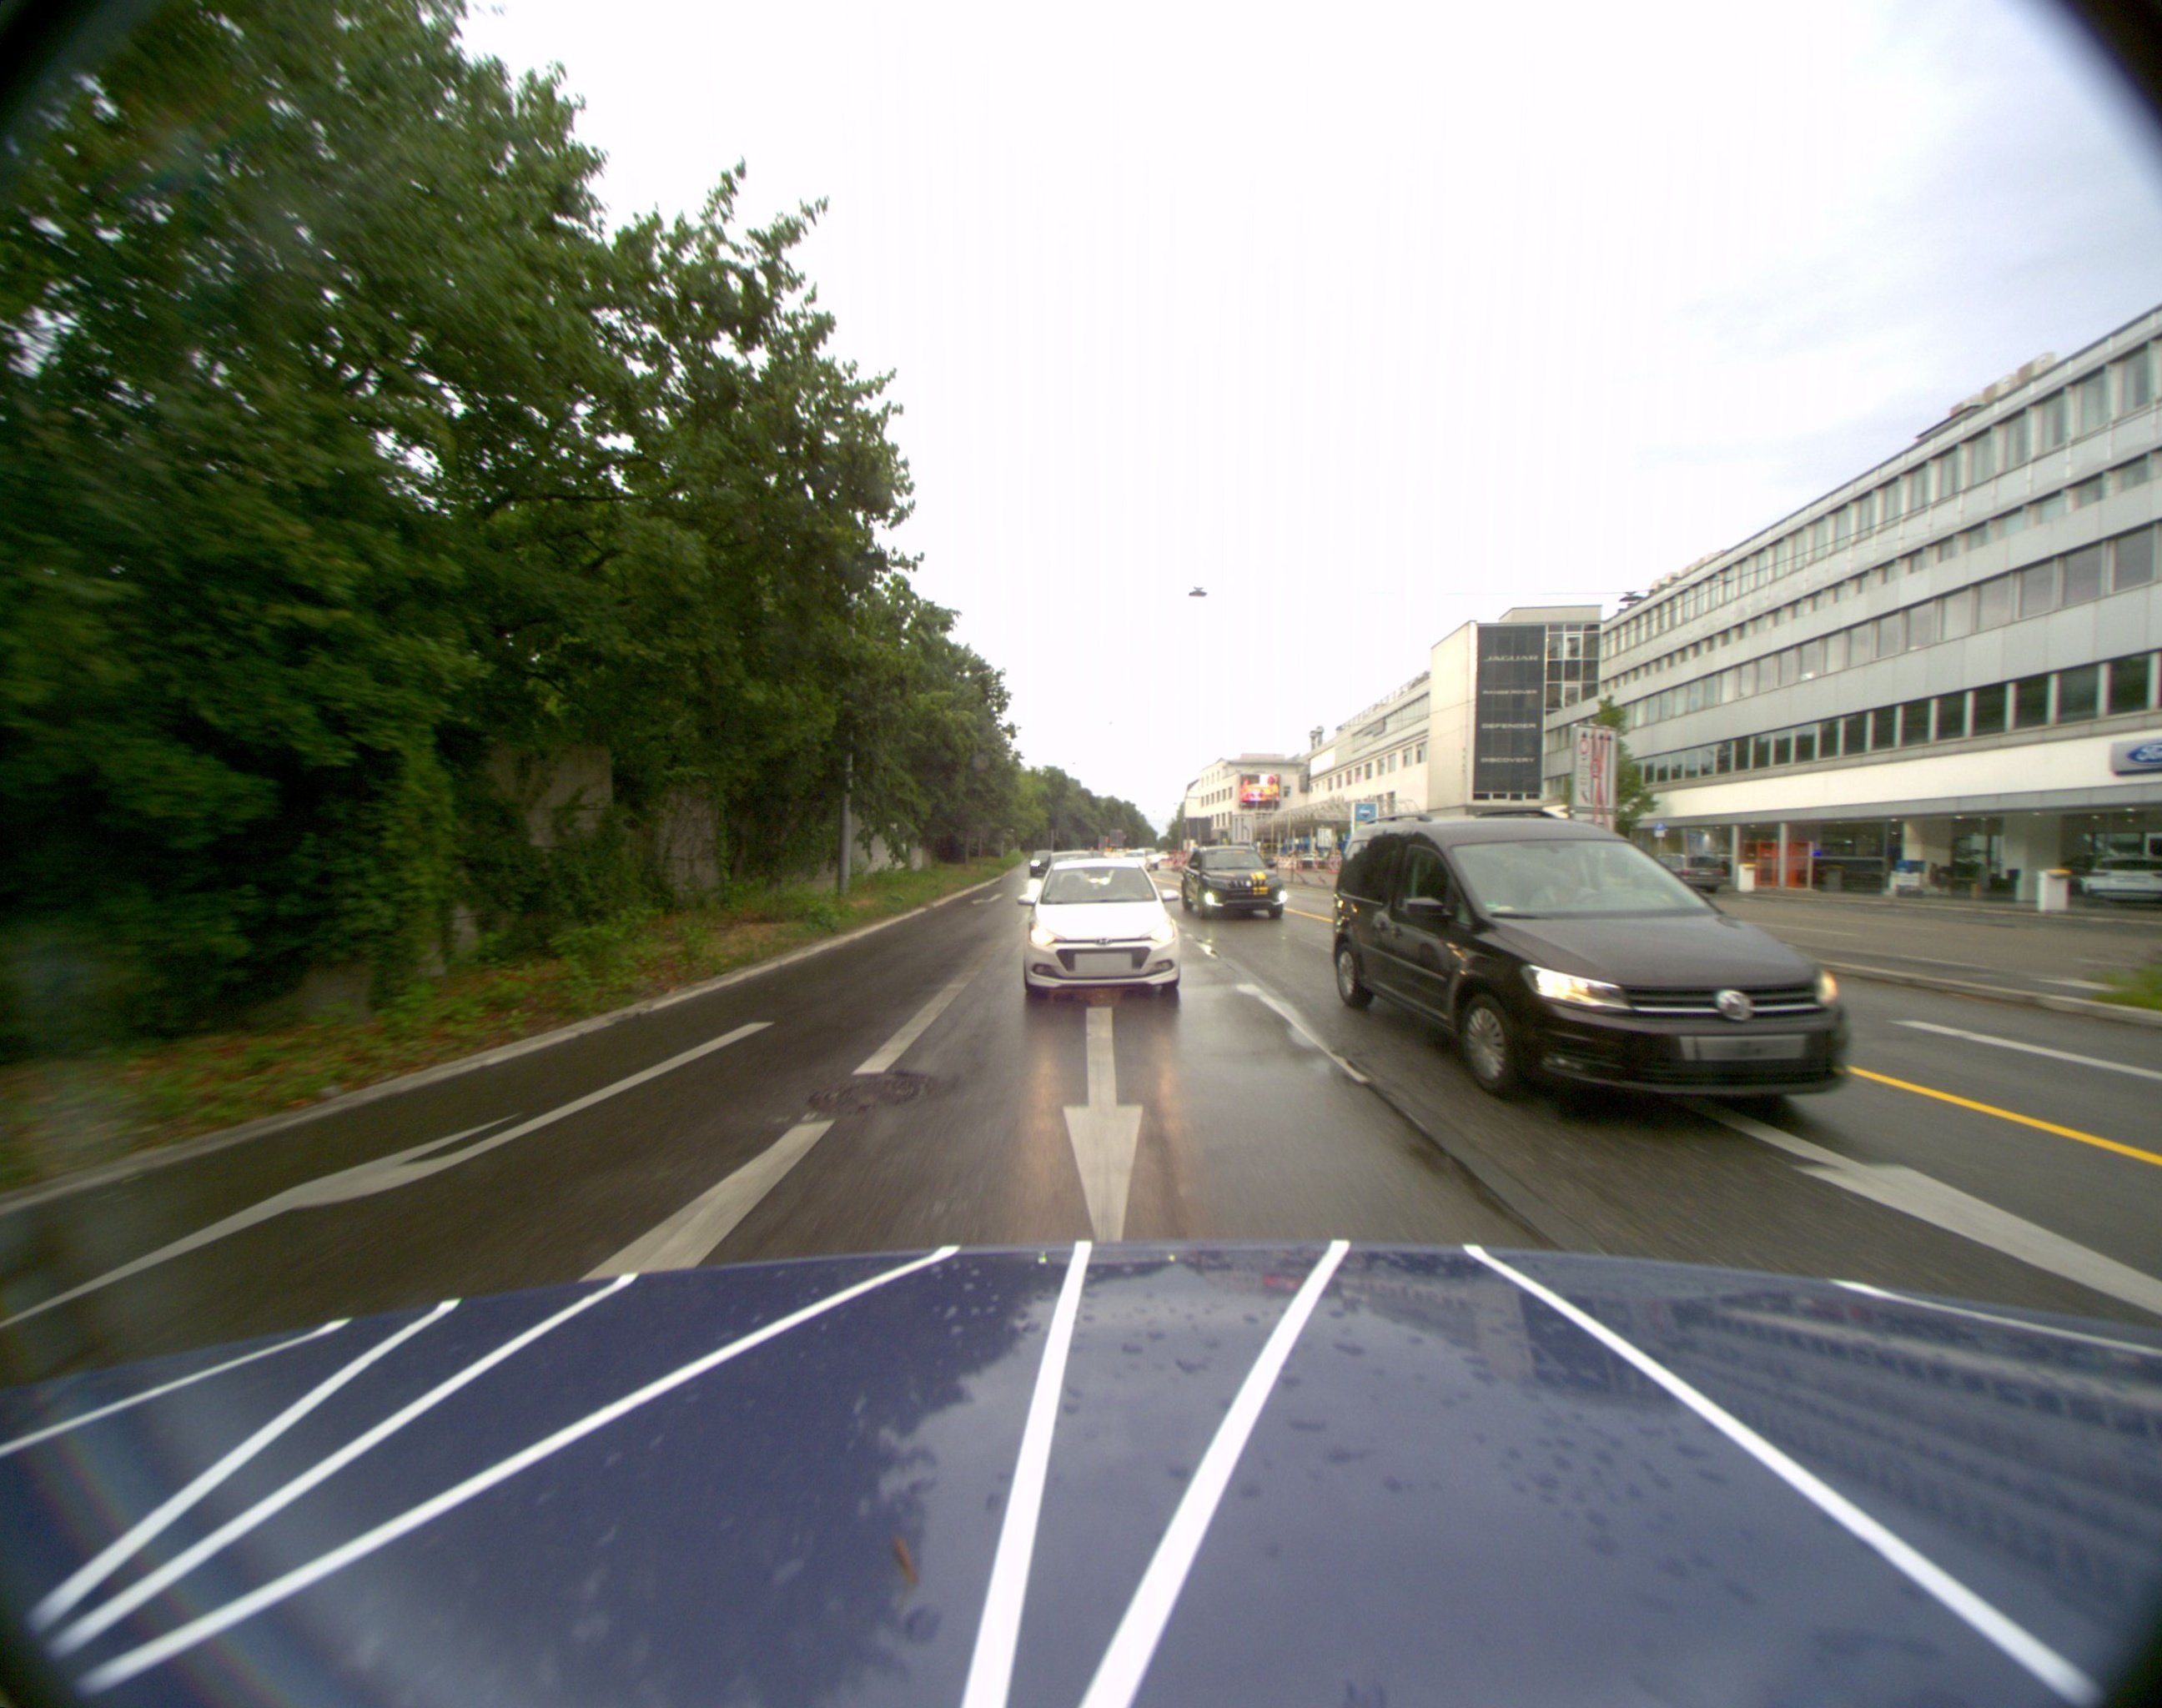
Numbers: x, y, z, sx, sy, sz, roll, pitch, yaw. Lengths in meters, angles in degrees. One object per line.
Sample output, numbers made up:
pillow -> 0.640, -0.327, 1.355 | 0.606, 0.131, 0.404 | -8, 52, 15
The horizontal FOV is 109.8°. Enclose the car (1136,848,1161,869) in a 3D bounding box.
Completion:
car -> 5.553, 0.319, 63.126 | 1.771, 1.608, 3.949 | -2, 1, 2

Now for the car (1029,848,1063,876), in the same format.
car -> -2.176, 0.473, 48.525 | 1.814, 1.590, 4.333 | -2, 1, 1

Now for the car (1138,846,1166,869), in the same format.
car -> 5.357, 0.222, 57.607 | 1.771, 1.628, 4.333 | -2, 1, 2

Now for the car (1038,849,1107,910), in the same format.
car -> -0.177, 0.690, 22.947 | 1.814, 1.590, 4.333 | -2, 1, 1

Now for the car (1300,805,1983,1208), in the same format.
car -> 3.224, 0.692, 5.717 | 1.905, 1.804, 4.430 | -2, 1, 1

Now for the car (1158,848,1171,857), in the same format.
car -> 14.189, -0.268, 129.001 | 1.805, 1.523, 3.764 | 2, 0, 0

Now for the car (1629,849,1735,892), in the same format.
car -> 28.134, 0.726, 35.740 | 1.922, 1.805, 4.166 | -2, 1, 6

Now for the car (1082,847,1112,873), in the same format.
car -> 1.048, 0.344, 49.138 | 1.814, 1.590, 4.333 | -2, 1, 1

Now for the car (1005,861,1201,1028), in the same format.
car -> 0.260, 0.886, 9.391 | 1.814, 1.444, 4.333 | -2, 1, 1

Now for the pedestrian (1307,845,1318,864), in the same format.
pedestrian -> 23.309, 0.038, 76.488 | 0.895, 1.804, 0.941 | -2, 1, 4

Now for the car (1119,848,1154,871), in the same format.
car -> 3.762, 0.344, 50.622 | 1.769, 1.407, 4.336 | -2, 1, 11

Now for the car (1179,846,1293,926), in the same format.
car -> 3.451, 0.633, 17.677 | 1.814, 1.590, 4.333 | -2, 1, 1
